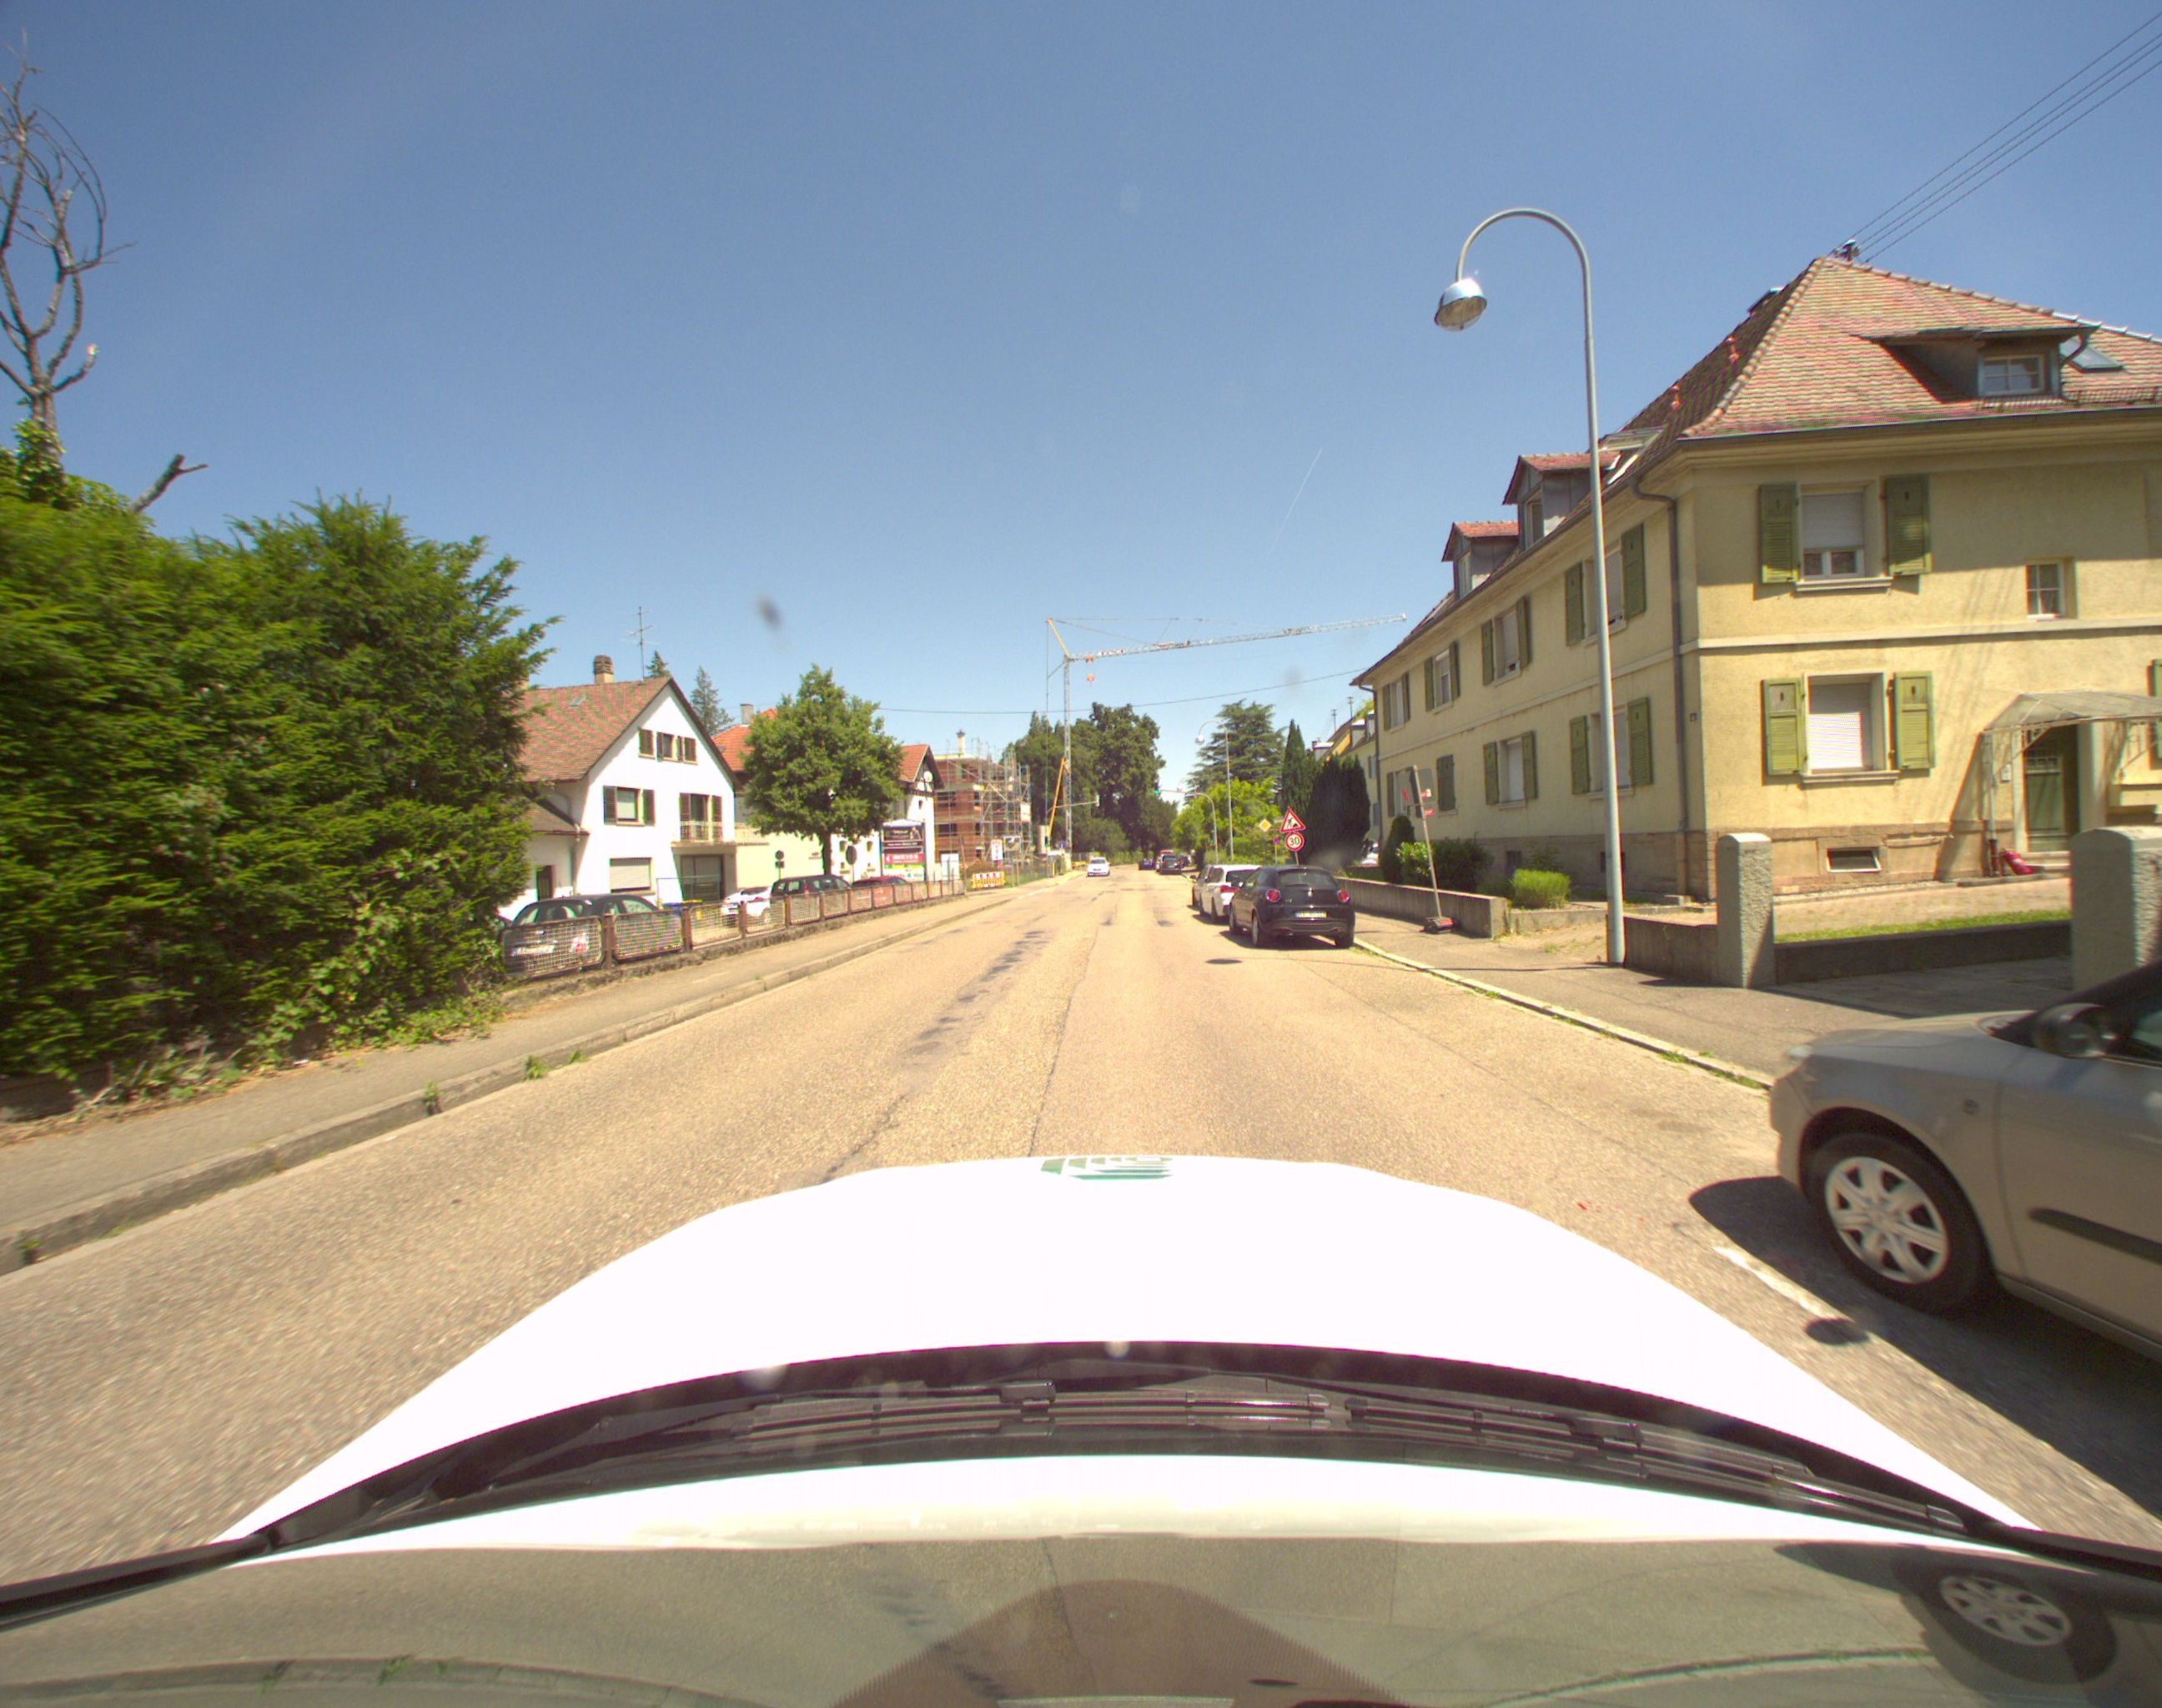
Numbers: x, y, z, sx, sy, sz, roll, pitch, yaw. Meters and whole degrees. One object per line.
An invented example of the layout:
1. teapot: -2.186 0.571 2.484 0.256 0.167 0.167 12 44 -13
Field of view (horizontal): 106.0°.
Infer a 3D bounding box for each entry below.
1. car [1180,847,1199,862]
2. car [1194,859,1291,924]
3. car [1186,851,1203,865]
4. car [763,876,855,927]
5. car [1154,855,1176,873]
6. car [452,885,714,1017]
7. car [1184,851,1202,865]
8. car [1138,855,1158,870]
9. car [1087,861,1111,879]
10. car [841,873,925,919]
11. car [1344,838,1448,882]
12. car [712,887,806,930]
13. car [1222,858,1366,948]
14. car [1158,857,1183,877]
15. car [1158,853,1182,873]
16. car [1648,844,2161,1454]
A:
1. car: 12.969 0.120 97.164 1.982 1.662 4.010 -3 -1 9
2. car: 4.015 0.881 20.846 1.755 1.451 3.890 -2 0 1
3. car: 14.909 0.556 106.880 1.982 1.662 4.010 -3 -1 9
4. car: -9.681 1.662 29.218 1.650 1.576 3.542 -3 -1 8
5. car: 8.282 0.958 79.908 1.983 1.662 4.007 -3 -1 6
6. car: -7.507 1.367 12.727 1.769 1.596 3.536 -3 -1 2
7. car: 14.050 0.530 101.989 1.982 1.662 4.010 -3 -1 9
8. car: 7.423 0.936 90.019 1.947 1.468 4.010 -2 0 9
9. car: 1.590 1.322 69.946 1.752 1.451 3.845 -2 0 6
10. car: -6.970 1.447 29.017 1.650 1.389 3.542 -3 -1 8
11. car: 14.455 0.288 37.590 3.969 1.640 2.002 -5 -1 4
12. car: -11.900 1.984 30.332 1.650 1.333 3.542 -3 -1 8
13. car: 3.893 0.829 15.518 1.755 1.451 3.840 -2 0 1
14. car: 7.658 1.112 69.831 1.983 1.574 4.007 -3 -1 6
15. car: 8.149 0.837 74.473 1.983 1.662 4.007 -3 -1 6
16. car: 3.475 0.703 1.633 1.755 1.451 4.223 -2 0 1
